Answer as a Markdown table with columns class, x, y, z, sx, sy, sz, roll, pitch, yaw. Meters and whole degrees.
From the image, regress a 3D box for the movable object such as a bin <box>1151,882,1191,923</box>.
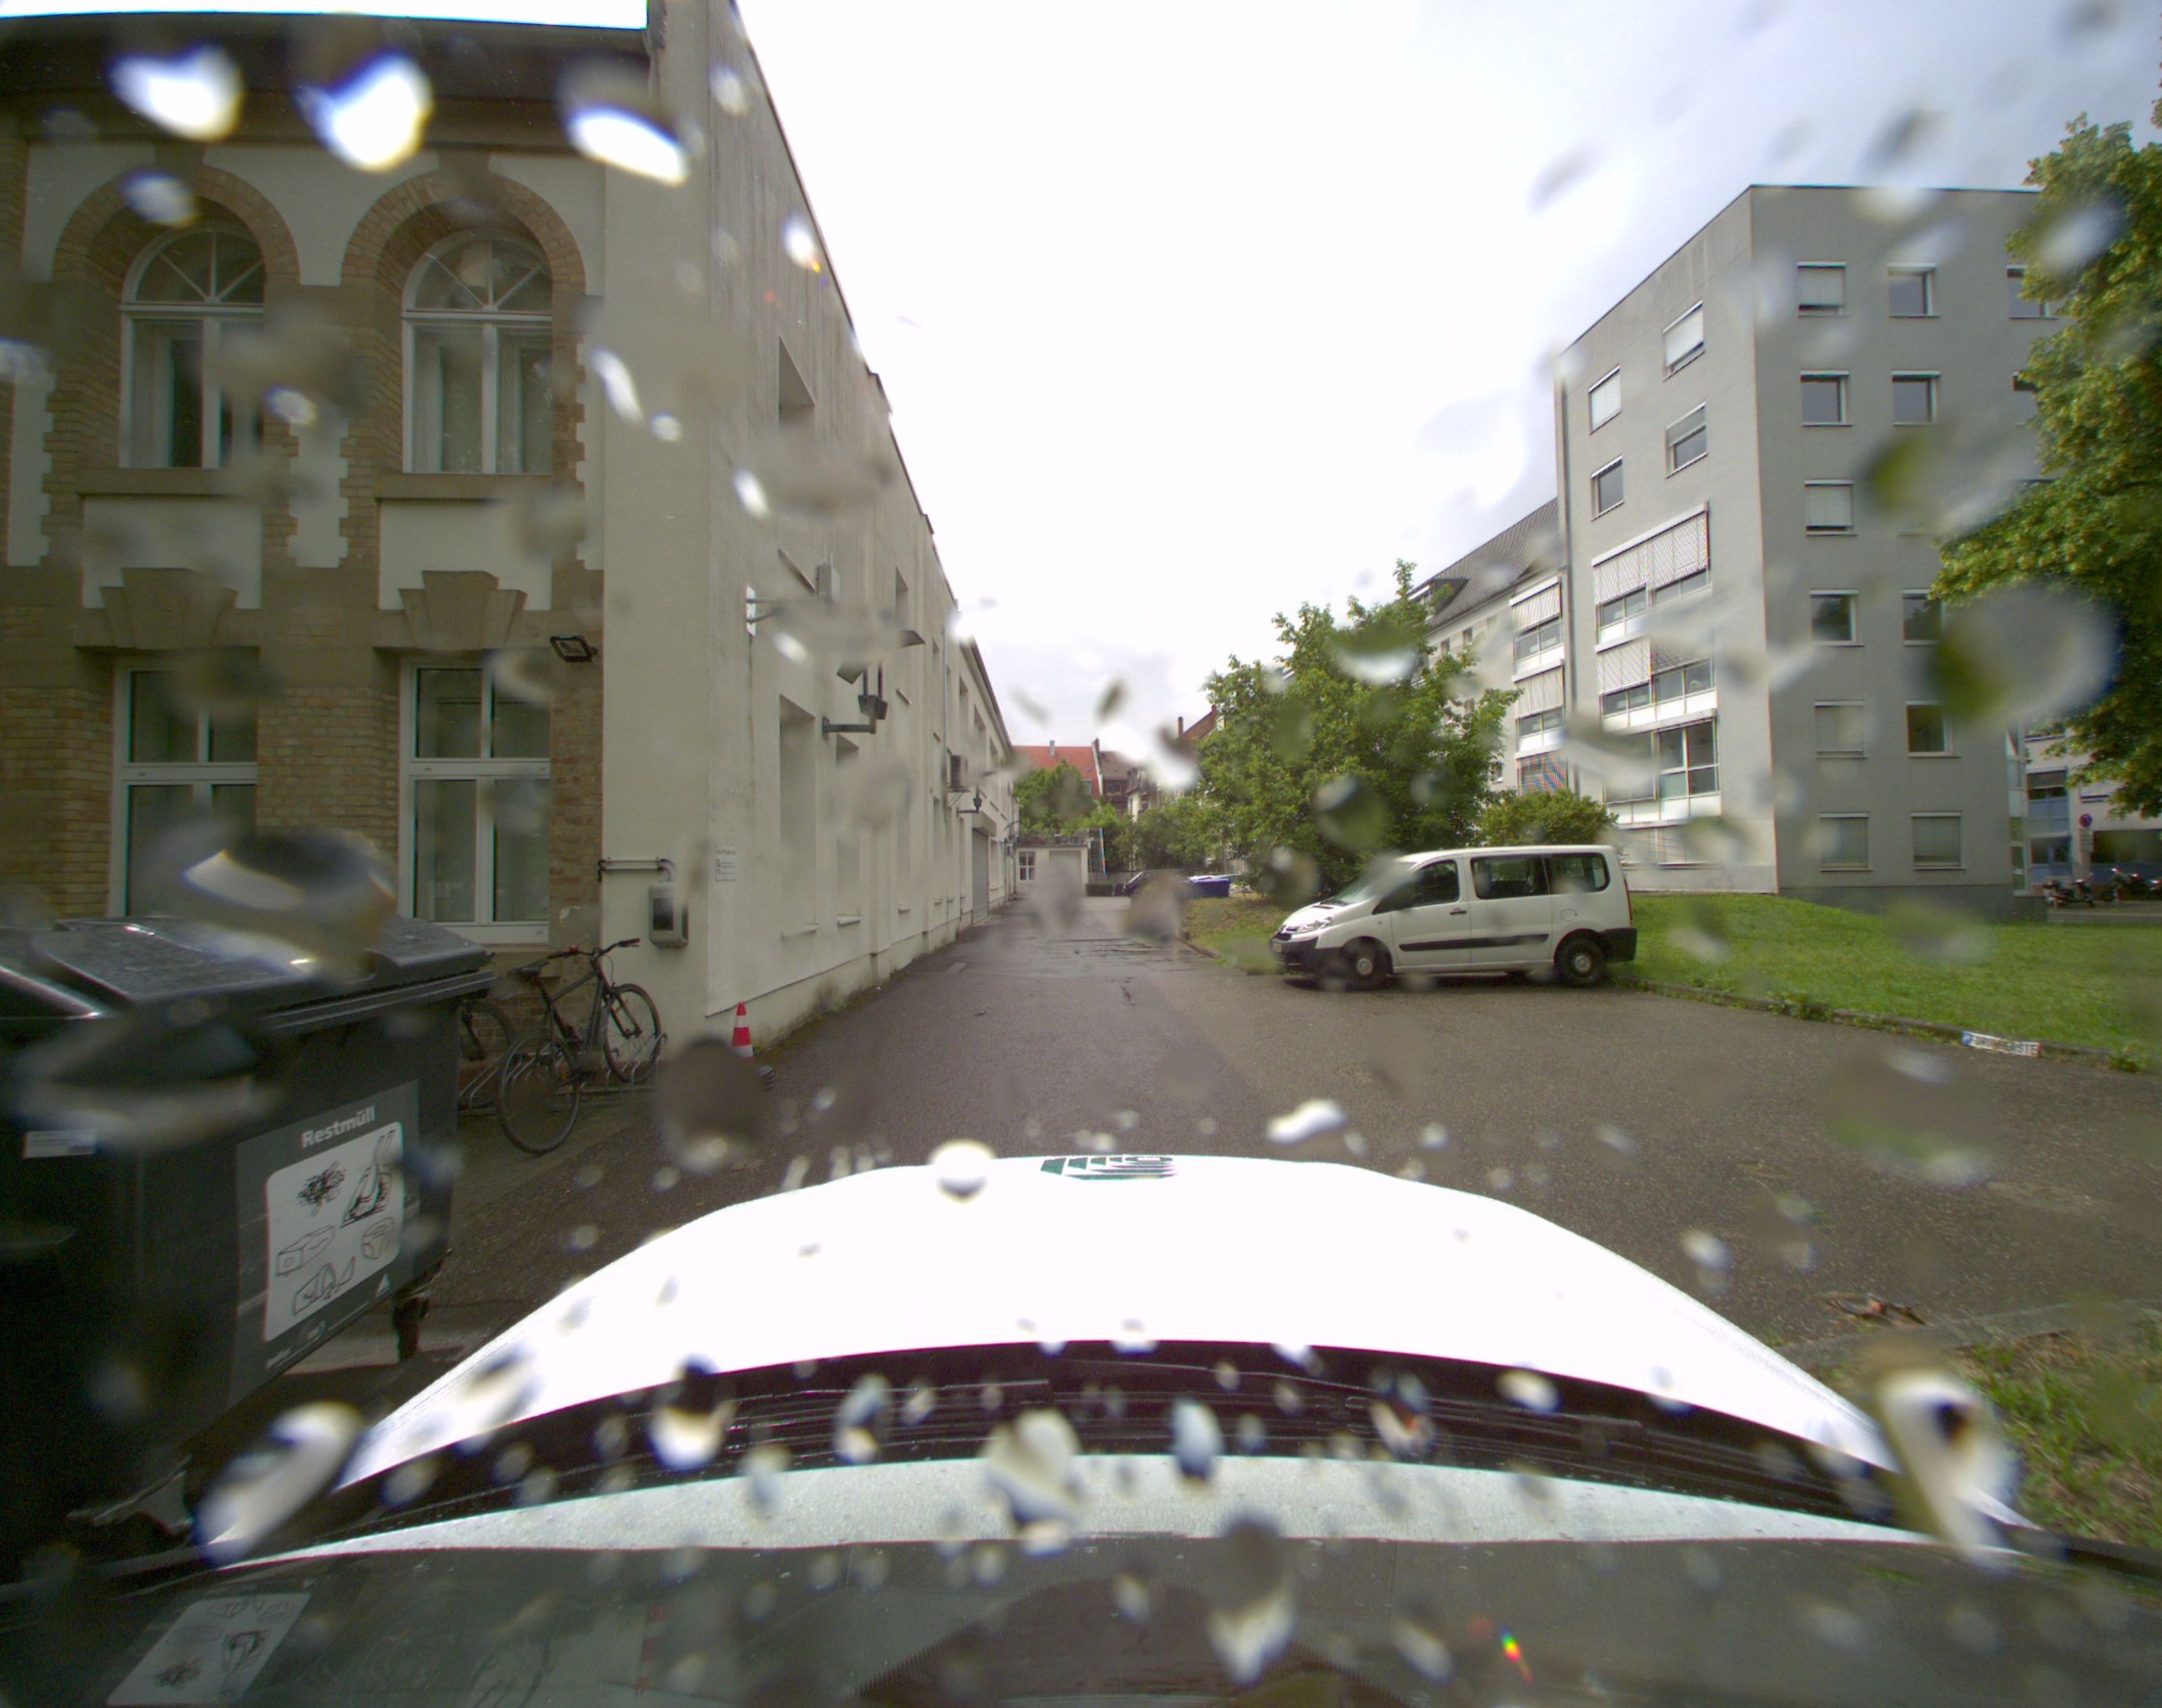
| class | x | y | z | sx | sy | sz | roll | pitch | yaw |
| --- | --- | --- | --- | --- | --- | --- | --- | --- | --- |
| movable object such as a bin | 2.977 | 1.607 | 27.151 | 1.171 | 1.317 | 1.054 | 1 | -1 | -3 |

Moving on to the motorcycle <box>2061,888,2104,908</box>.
| class | x | y | z | sx | sy | sz | roll | pitch | yaw |
| --- | --- | --- | --- | --- | --- | --- | --- | --- | --- |
| motorcycle | 40.768 | 1.783 | 33.160 | 1.437 | 0.771 | 0.330 | 1 | -1 | -4 |

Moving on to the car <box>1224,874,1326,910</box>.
| class | x | y | z | sx | sy | sz | roll | pitch | yaw |
| --- | --- | --- | --- | --- | --- | --- | --- | --- | --- |
| car | 8.495 | 1.650 | 35.869 | 3.978 | 1.354 | 1.789 | -2 | -2 | -3 |

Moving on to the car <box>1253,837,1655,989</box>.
| class | x | y | z | sx | sy | sz | roll | pitch | yaw |
| --- | --- | --- | --- | --- | --- | --- | --- | --- | --- |
| car | 5.154 | 0.808 | 11.825 | 4.919 | 2.014 | 2.000 | 0 | -2 | 1 |

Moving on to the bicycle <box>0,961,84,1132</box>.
| class | x | y | z | sx | sy | sz | roll | pitch | yaw |
| --- | --- | --- | --- | --- | --- | --- | --- | --- | --- |
| bicycle | -7.124 | 1.248 | 4.599 | 0.450 | 1.038 | 2.055 | 1 | -1 | -1 |

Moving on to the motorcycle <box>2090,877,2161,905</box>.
| class | x | y | z | sx | sy | sz | roll | pitch | yaw |
| --- | --- | --- | --- | --- | --- | --- | --- | --- | --- |
| motorcycle | 44.964 | 1.574 | 34.898 | 0.417 | 1.143 | 2.142 | 2 | -1 | -38 |

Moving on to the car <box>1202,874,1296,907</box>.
| class | x | y | z | sx | sy | sz | roll | pitch | yaw |
| --- | --- | --- | --- | --- | --- | --- | --- | --- | --- |
| car | 8.008 | 1.757 | 38.970 | 4.075 | 1.458 | 1.664 | -1 | -3 | -6 |

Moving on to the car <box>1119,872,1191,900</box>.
| class | x | y | z | sx | sy | sz | roll | pitch | yaw |
| --- | --- | --- | --- | --- | --- | --- | --- | --- | --- |
| car | 5.228 | 2.263 | 57.707 | 4.708 | 1.833 | 2.104 | -1 | -2 | -9 |

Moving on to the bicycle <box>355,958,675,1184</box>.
| class | x | y | z | sx | sy | sz | roll | pitch | yaw |
| --- | --- | --- | --- | --- | --- | --- | --- | --- | --- |
| bicycle | -3.114 | 1.132 | 4.773 | 0.450 | 0.799 | 2.055 | 1 | -1 | -1 |

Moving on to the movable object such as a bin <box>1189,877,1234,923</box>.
| class | x | y | z | sx | sy | sz | roll | pitch | yaw |
| --- | --- | --- | --- | --- | --- | --- | --- | --- | --- |
| movable object such as a bin | 4.338 | 1.511 | 27.153 | 1.272 | 1.483 | 1.100 | 1 | -1 | -3 |

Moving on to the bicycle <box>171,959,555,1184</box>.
| class | x | y | z | sx | sy | sz | roll | pitch | yaw |
| --- | --- | --- | --- | --- | --- | --- | --- | --- | --- |
| bicycle | -3.981 | 1.141 | 4.796 | 0.450 | 0.799 | 2.055 | 1 | -1 | -1 |

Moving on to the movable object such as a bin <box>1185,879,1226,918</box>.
| class | x | y | z | sx | sy | sz | roll | pitch | yaw |
| --- | --- | --- | --- | --- | --- | --- | --- | --- | --- |
| movable object such as a bin | 4.426 | 1.557 | 28.999 | 1.226 | 1.317 | 1.054 | -1 | -1 | -3 |

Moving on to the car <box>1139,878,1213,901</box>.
| class | x | y | z | sx | sy | sz | roll | pitch | yaw |
| --- | --- | --- | --- | --- | --- | --- | --- | --- | --- |
| car | 6.053 | 2.266 | 51.953 | 4.352 | 1.349 | 1.854 | -1 | -1 | -9 |

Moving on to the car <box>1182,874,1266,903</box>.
| class | x | y | z | sx | sy | sz | roll | pitch | yaw |
| --- | --- | --- | --- | --- | --- | --- | --- | --- | --- |
| car | 7.716 | 1.869 | 44.155 | 4.093 | 1.455 | 1.829 | -1 | -2 | -7 |

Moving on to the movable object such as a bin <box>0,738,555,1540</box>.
| class | x | y | z | sx | sy | sz | roll | pitch | yaw |
| --- | --- | --- | --- | --- | --- | --- | --- | --- | --- |
| movable object such as a bin | -2.533 | 0.520 | 2.156 | 1.356 | 1.471 | 1.364 | 1 | -1 | -3 |

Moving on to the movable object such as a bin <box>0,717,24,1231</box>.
| class | x | y | z | sx | sy | sz | roll | pitch | yaw |
| --- | --- | --- | --- | --- | --- | --- | --- | --- | --- |
| movable object such as a bin | -2.354 | 0.497 | 0.566 | 1.356 | 1.471 | 1.364 | 1 | -1 | -3 |

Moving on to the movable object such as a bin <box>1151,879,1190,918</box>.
| class | x | y | z | sx | sy | sz | roll | pitch | yaw |
| --- | --- | --- | --- | --- | --- | --- | --- | --- | --- |
| movable object such as a bin | 3.158 | 1.564 | 28.910 | 1.226 | 1.317 | 1.054 | -1 | -1 | -3 |
